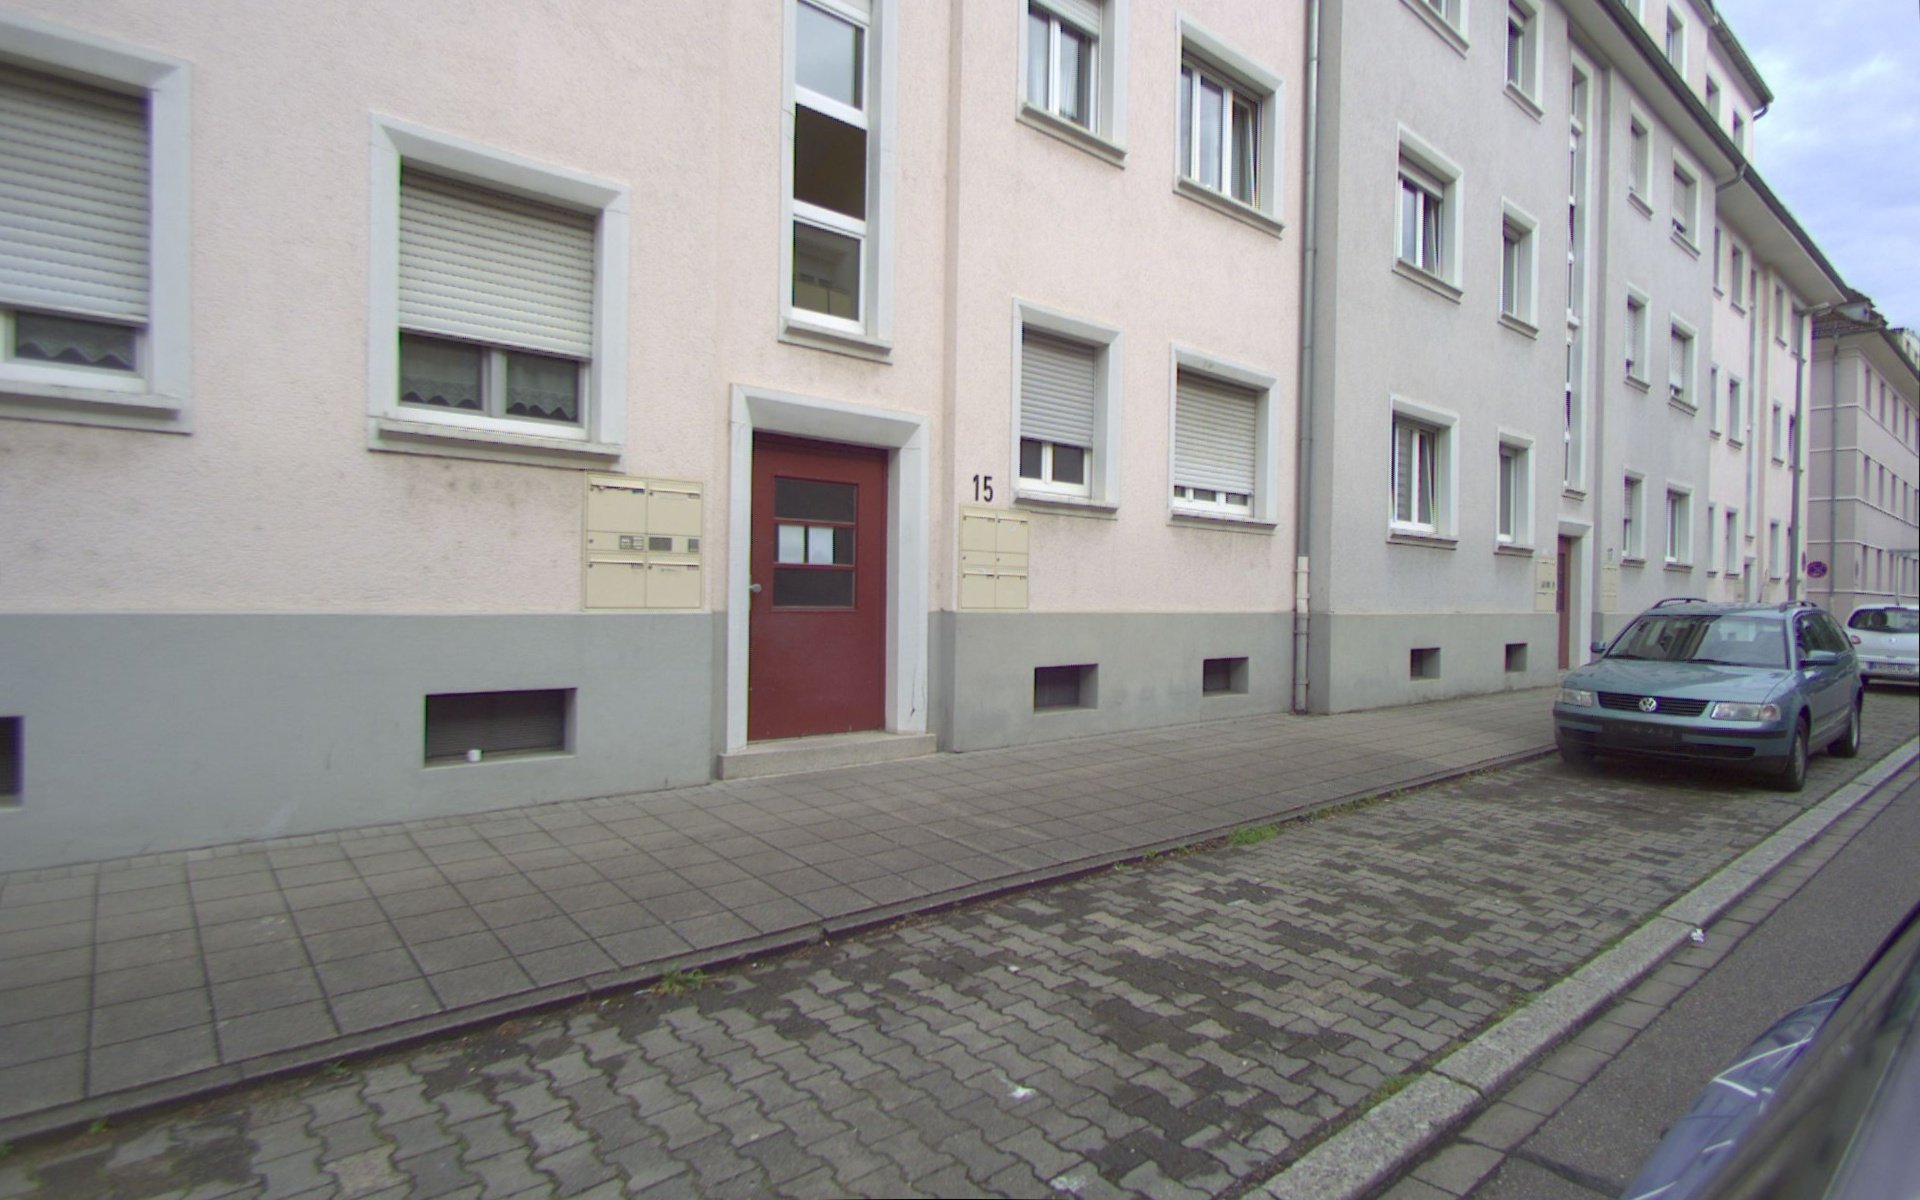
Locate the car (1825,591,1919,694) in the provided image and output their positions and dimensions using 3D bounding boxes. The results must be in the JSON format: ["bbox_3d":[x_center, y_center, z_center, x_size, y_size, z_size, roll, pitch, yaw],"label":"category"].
[{"bbox_3d":[16.587,0.694,17.544,3.736,1.619,1.787,0,1,-40],"label":"car"}]

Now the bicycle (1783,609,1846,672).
[{"bbox_3d":[16.555,0.755,19.592,2.088,1.154,0.606,0,1,-41],"label":"bicycle"}]

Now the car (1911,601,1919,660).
[{"bbox_3d":[25.027,0.769,25.060,3.867,1.427,1.757,1,1,-41],"label":"car"}]

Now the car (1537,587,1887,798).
[{"bbox_3d":[7.045,0.666,9.312,4.190,1.487,1.728,0,1,-41],"label":"car"}]
